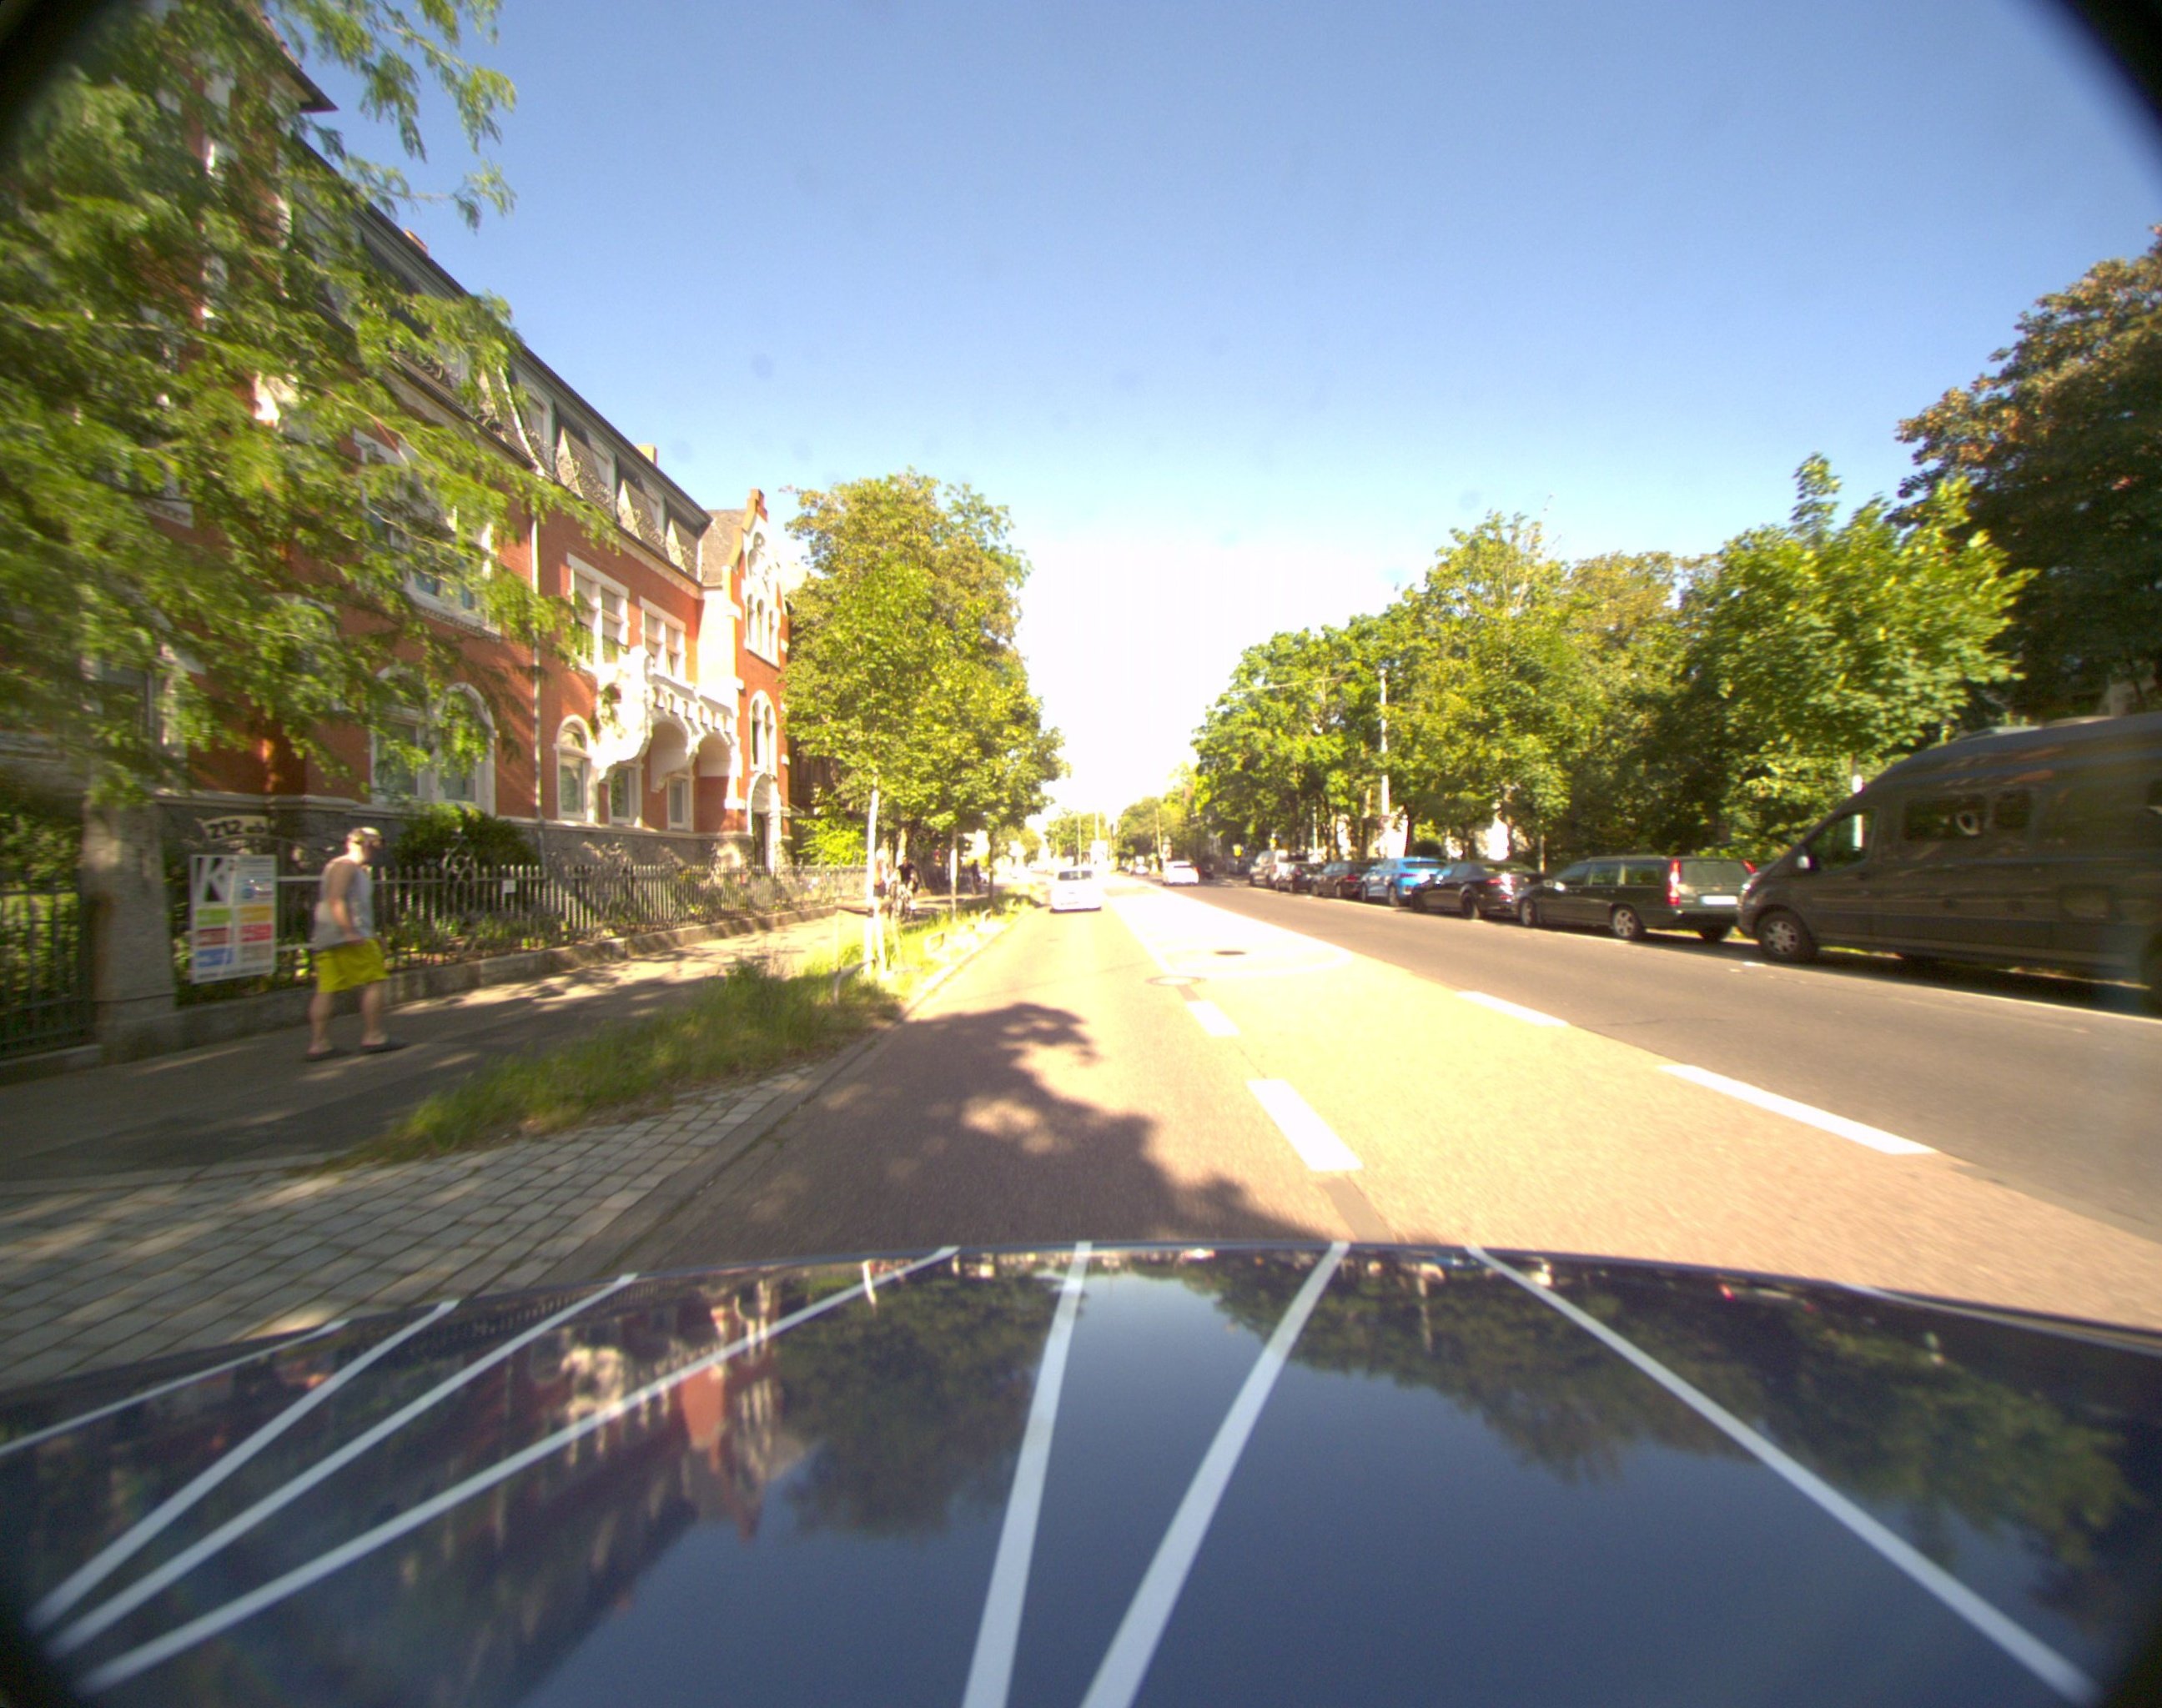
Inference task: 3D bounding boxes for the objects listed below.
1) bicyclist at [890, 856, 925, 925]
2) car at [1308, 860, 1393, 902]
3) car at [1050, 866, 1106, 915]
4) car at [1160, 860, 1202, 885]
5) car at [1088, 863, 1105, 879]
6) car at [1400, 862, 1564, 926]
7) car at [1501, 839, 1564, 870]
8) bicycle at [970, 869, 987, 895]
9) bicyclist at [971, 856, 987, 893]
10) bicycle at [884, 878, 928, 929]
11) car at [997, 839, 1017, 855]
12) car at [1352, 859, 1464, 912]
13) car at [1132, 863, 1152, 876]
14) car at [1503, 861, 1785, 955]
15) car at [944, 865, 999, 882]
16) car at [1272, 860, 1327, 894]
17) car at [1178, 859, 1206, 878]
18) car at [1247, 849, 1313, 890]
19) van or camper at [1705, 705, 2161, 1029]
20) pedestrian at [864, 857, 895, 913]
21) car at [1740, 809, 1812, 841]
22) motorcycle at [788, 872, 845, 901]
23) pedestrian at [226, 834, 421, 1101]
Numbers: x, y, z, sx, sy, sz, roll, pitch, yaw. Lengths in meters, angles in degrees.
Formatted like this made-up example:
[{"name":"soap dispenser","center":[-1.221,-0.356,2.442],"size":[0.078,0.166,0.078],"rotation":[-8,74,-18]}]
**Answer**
[{"name":"bicyclist","center":[-4.376,0.908,19.223],"size":[0.647,1.685,0.889],"rotation":[2,-1,-1]},{"name":"car","center":[10.331,0.981,29.468],"size":[1.594,1.473,4.270],"rotation":[0,0,-3]},{"name":"car","center":[-0.046,1.186,26.084],"size":[1.652,1.449,3.898],"rotation":[-2,0,3]},{"name":"car","center":[6.035,1.096,46.122],"size":[1.923,1.411,4.225],"rotation":[-1,0,-1]},{"name":"car","center":[1.831,1.933,88.580],"size":[1.694,1.862,3.560],"rotation":[0,-1,-4]},{"name":"car","center":[9.785,0.907,18.982],"size":[1.785,1.405,4.405],"rotation":[0,0,0]},{"name":"car","center":[34.048,0.065,57.429],"size":[1.893,2.232,4.918],"rotation":[0,0,1]},{"name":"bicycle","center":[-4.832,1.312,35.830],"size":[0.617,1.169,1.918],"rotation":[2,-1,-4]},{"name":"bicyclist","center":[-4.818,0.969,35.846],"size":[0.622,1.680,0.820],"rotation":[2,0,-3]},{"name":"bicycle","center":[-4.387,1.226,19.194],"size":[0.654,1.169,1.843],"rotation":[2,-1,-1]},{"name":"car","center":[-7.539,-0.706,77.300],"size":[1.847,1.432,4.105],"rotation":[1,-1,-4]},{"name":"car","center":[10.419,0.932,24.575],"size":[1.784,1.529,4.559],"rotation":[0,0,2]},{"name":"car","center":[7.117,1.826,88.980],"size":[1.843,1.482,3.780],"rotation":[0,0,-4]},{"name":"car","center":[9.970,0.853,14.036],"size":[1.698,1.448,4.663],"rotation":[0,0,-1]},{"name":"car","center":[-9.489,1.685,66.107],"size":[4.417,1.409,2.047],"rotation":[0,0,1]},{"name":"car","center":[10.301,1.037,36.086],"size":[1.467,1.493,3.958],"rotation":[0,0,0]},{"name":"car","center":[8.643,1.108,59.562],"size":[1.596,1.441,4.133],"rotation":[-1,0,0]},{"name":"car","center":[10.612,0.804,40.871],"size":[1.989,2.024,4.874],"rotation":[1,-1,-4]},{"name":"van or camper","center":[10.206,0.104,8.015],"size":[2.222,2.723,6.088],"rotation":[-1,0,0]},{"name":"pedestrian","center":[-6.100,0.918,23.025],"size":[0.696,1.649,0.820],"rotation":[2,1,-1]},{"name":"car","center":[61.593,-2.494,67.450],"size":[1.893,2.607,4.918],"rotation":[0,0,0]},{"name":"motorcycle","center":[-9.959,1.222,28.605],"size":[1.879,1.026,0.782],"rotation":[0,1,9]},{"name":"pedestrian","center":[-5.585,0.765,5.623],"size":[0.748,1.777,0.812],"rotation":[2,0,30]}]
